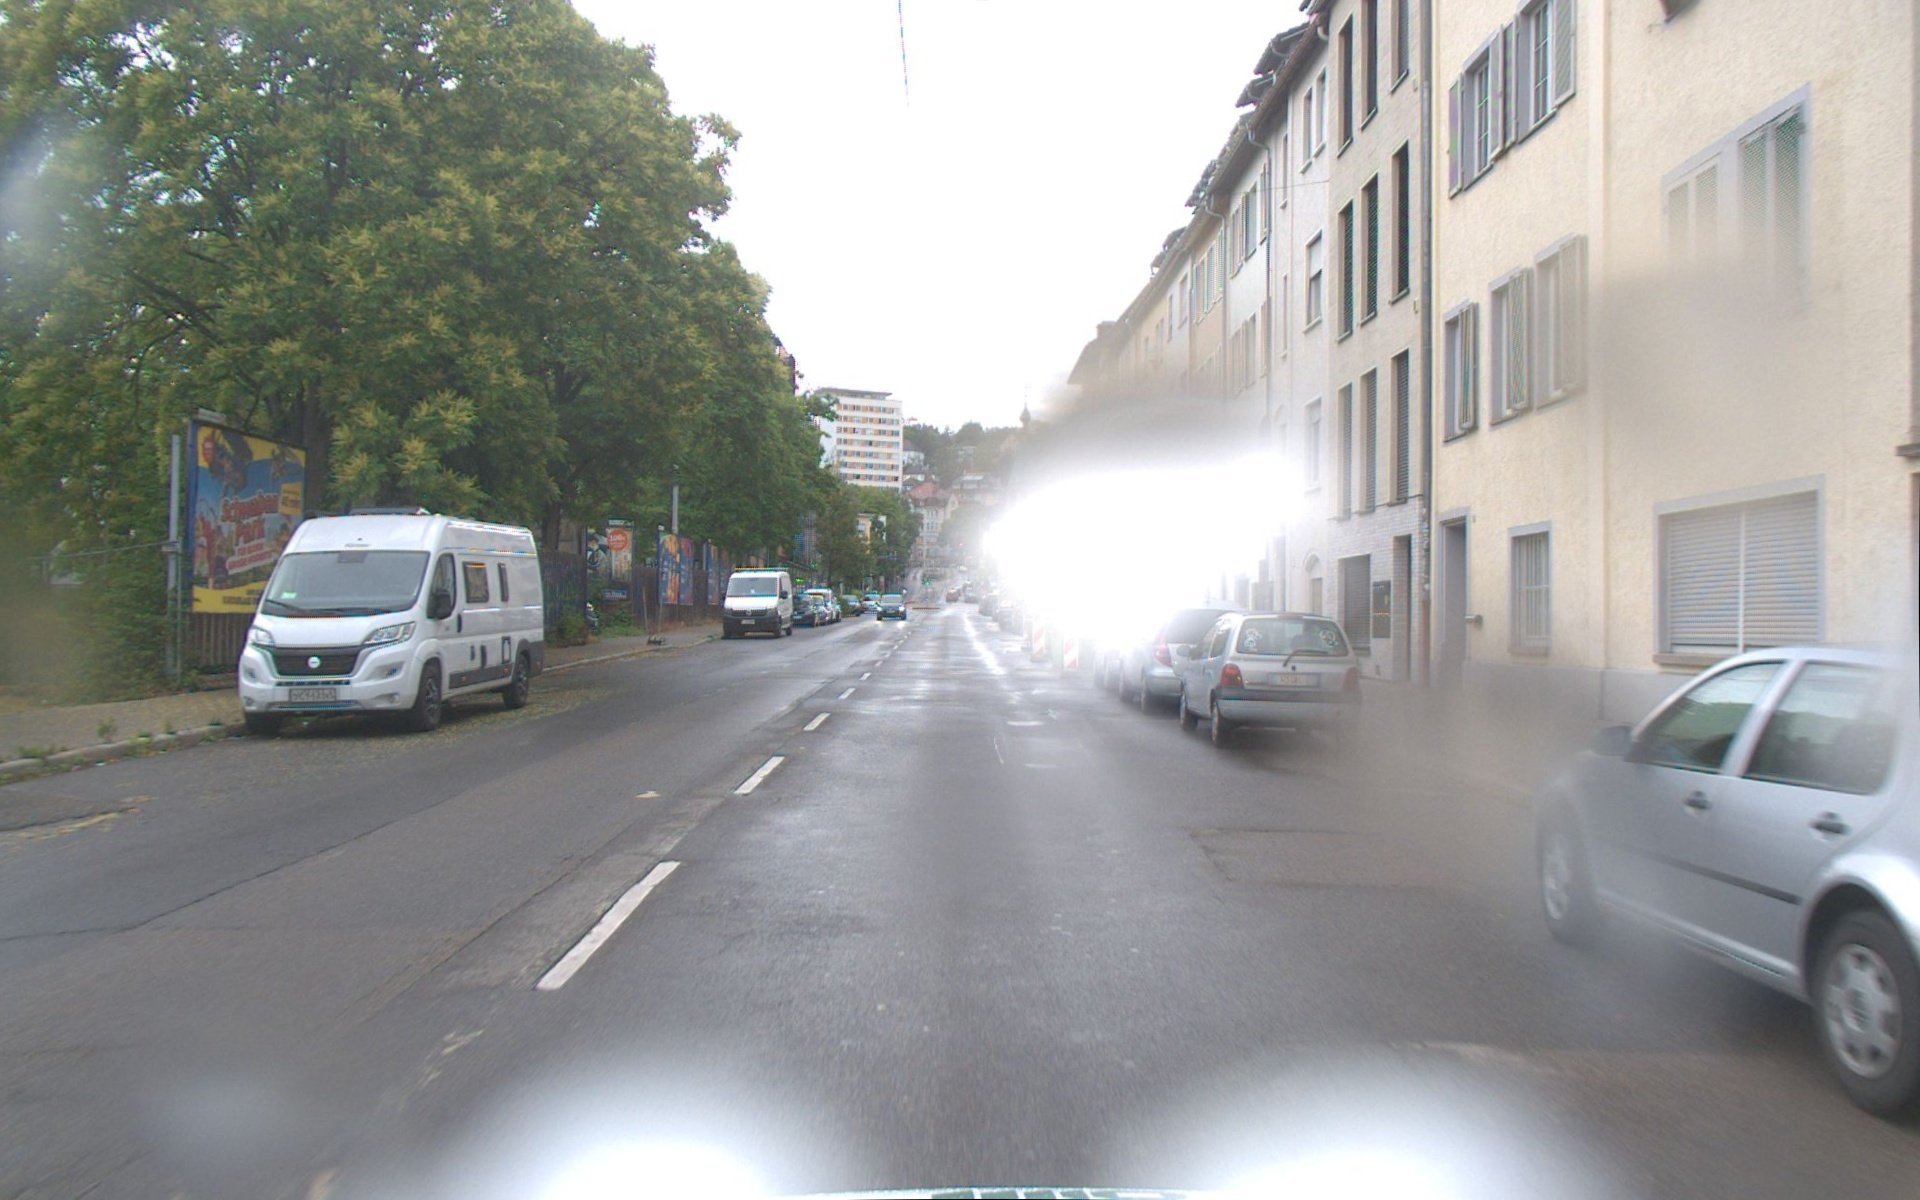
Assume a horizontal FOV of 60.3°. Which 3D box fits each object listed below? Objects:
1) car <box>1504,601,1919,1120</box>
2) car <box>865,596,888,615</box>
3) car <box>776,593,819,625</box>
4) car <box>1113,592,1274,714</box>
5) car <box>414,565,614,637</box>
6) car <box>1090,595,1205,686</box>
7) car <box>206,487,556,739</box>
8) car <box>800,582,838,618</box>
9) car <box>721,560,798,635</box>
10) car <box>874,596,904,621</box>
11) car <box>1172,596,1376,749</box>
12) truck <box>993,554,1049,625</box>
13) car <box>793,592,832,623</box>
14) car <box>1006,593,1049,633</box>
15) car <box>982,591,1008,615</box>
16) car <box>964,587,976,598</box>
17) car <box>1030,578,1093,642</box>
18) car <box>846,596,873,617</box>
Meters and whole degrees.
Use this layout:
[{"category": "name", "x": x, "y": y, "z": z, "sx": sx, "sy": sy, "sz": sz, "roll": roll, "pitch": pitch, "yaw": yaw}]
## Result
[{"category": "car", "x": 3.625, "y": 0.798, "z": 6.564, "sx": 1.596, "sy": 1.479, "sz": 3.759, "roll": 2, "pitch": 1, "yaw": -1}, {"category": "car", "x": -6.593, "y": 0.424, "z": 130.886, "sx": 1.675, "sy": 1.476, "sz": 4.293, "roll": 0, "pitch": 0, "yaw": -1}, {"category": "car", "x": -7.340, "y": 0.409, "z": 74.842, "sx": 1.648, "sy": 1.423, "sz": 3.909, "roll": -1, "pitch": 0, "yaw": -1}, {"category": "car", "x": 3.307, "y": 0.701, "z": 24.117, "sx": 1.681, "sy": 1.551, "sz": 3.999, "roll": 2, "pitch": 1, "yaw": -1}, {"category": "car", "x": -13.280, "y": 0.008, "z": 49.523, "sx": 5.389, "sy": 2.044, "sz": 2.145, "roll": -1, "pitch": 0, "yaw": -3}, {"category": "car", "x": 3.309, "y": 0.680, "z": 29.762, "sx": 1.593, "sy": 1.435, "sz": 3.842, "roll": 2, "pitch": 1, "yaw": 0}, {"category": "car", "x": -6.931, "y": 0.104, "z": 20.798, "sx": 2.185, "sy": 2.624, "sz": 6.536, "roll": -1, "pitch": 1, "yaw": -1}, {"category": "car", "x": -7.346, "y": 0.014, "z": 86.409, "sx": 1.688, "sy": 1.832, "sz": 4.343, "roll": -1, "pitch": 0, "yaw": -1}, {"category": "car", "x": -7.151, "y": -0.112, "z": 59.594, "sx": 1.970, "sy": 2.530, "sz": 5.983, "roll": -1, "pitch": 1, "yaw": 0}, {"category": "car", "x": -4.327, "y": 0.506, "z": 100.737, "sx": 1.769, "sy": 1.440, "sz": 4.381, "roll": 0, "pitch": 0, "yaw": -3}, {"category": "car", "x": 3.489, "y": 0.746, "z": 18.967, "sx": 1.527, "sy": 1.479, "sz": 3.759, "roll": 2, "pitch": 1, "yaw": -1}, {"category": "truck", "x": 2.885, "y": -0.491, "z": 79.947, "sx": 2.419, "sy": 3.228, "sz": 7.035, "roll": 0, "pitch": 0, "yaw": 0}, {"category": "car", "x": -7.270, "y": 0.352, "z": 81.666, "sx": 1.648, "sy": 1.488, "sz": 4.276, "roll": -1, "pitch": 0, "yaw": -1}, {"category": "car", "x": 2.825, "y": 0.535, "z": 69.758, "sx": 1.629, "sy": 1.600, "sz": 4.097, "roll": 0, "pitch": 0, "yaw": 0}, {"category": "car", "x": 2.642, "y": 0.199, "z": 125.353, "sx": 1.781, "sy": 1.681, "sz": 4.075, "roll": 2, "pitch": 0, "yaw": -1}, {"category": "car", "x": 1.640, "y": -1.115, "z": 260.413, "sx": 1.696, "sy": 1.682, "sz": 4.001, "roll": -1, "pitch": 0, "yaw": 3}, {"category": "car", "x": 3.247, "y": 0.291, "z": 53.484, "sx": 1.780, "sy": 1.957, "sz": 4.239, "roll": 0, "pitch": 0, "yaw": 0}, {"category": "car", "x": -7.022, "y": 0.457, "z": 115.683, "sx": 1.767, "sy": 1.476, "sz": 4.655, "roll": 0, "pitch": 0, "yaw": -3}]
